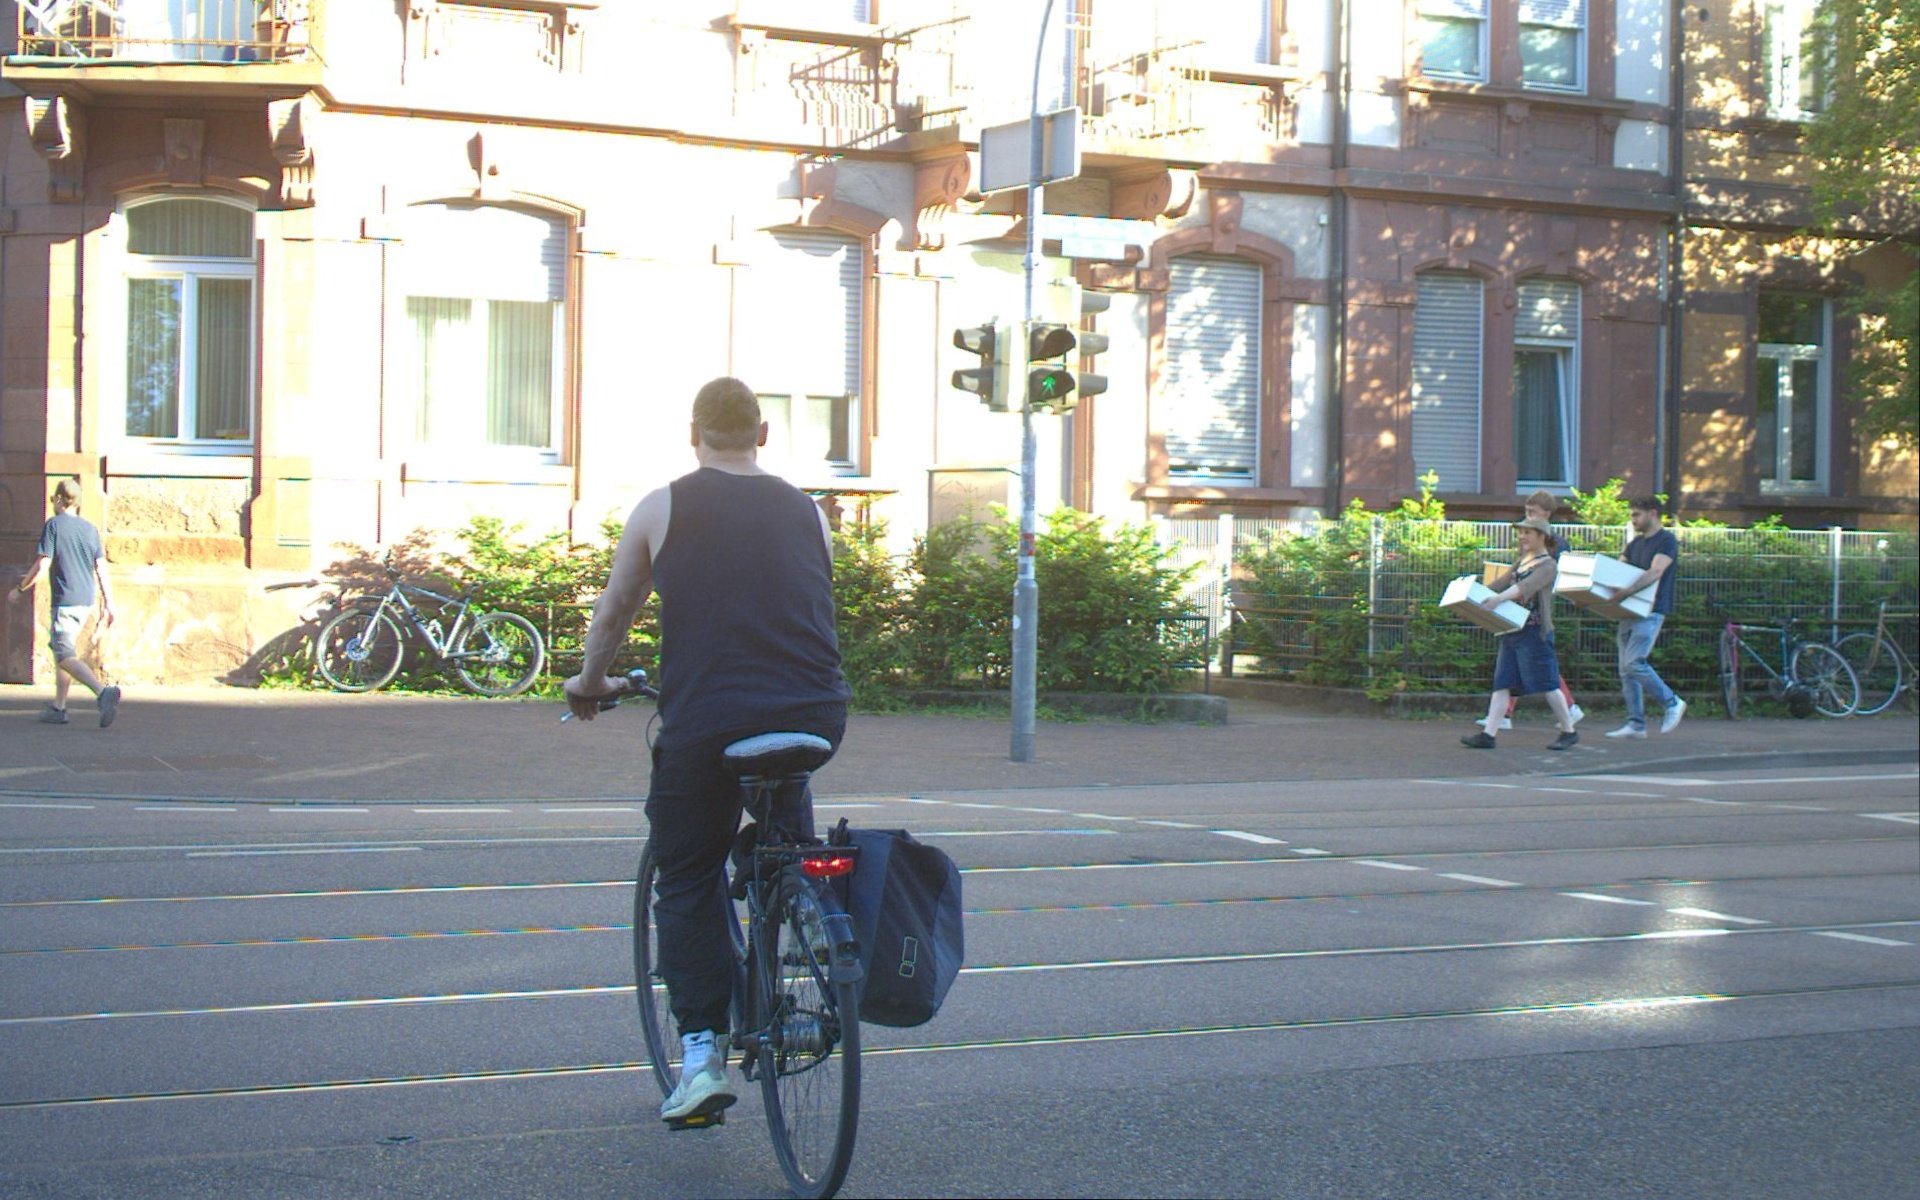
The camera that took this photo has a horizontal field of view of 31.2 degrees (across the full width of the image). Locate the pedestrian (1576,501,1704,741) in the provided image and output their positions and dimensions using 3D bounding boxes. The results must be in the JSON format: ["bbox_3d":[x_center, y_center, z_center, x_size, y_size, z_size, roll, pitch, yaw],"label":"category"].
[{"bbox_3d":[4.926,0.146,24.937,0.634,1.709,0.664,1,1,-16],"label":"pedestrian"}]

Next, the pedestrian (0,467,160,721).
[{"bbox_3d":[-5.987,-0.054,23.064,0.903,1.629,0.724,4,3,29],"label":"pedestrian"}]

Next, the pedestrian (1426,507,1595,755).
[{"bbox_3d":[3.824,0.208,23.923,0.895,1.659,0.712,1,4,-12],"label":"pedestrian"}]

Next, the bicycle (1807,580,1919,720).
[{"bbox_3d":[7.547,0.405,27.939,1.229,1.103,0.443,1,2,-23],"label":"bicycle"}]

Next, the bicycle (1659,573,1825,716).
[{"bbox_3d":[6.233,0.351,27.400,1.229,1.103,0.443,0,2,-23],"label":"bicycle"}]

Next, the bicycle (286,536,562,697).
[{"bbox_3d":[-4.040,0.118,25.931,1.960,1.103,0.443,3,1,5],"label":"bicycle"}]

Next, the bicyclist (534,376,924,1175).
[{"bbox_3d":[-0.537,0.358,7.666,0.686,1.650,0.990,0,0,-15],"label":"bicyclist"}]

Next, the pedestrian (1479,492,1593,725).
[{"bbox_3d":[4.292,0.057,25.624,0.634,1.709,0.521,1,1,-16],"label":"pedestrian"}]
